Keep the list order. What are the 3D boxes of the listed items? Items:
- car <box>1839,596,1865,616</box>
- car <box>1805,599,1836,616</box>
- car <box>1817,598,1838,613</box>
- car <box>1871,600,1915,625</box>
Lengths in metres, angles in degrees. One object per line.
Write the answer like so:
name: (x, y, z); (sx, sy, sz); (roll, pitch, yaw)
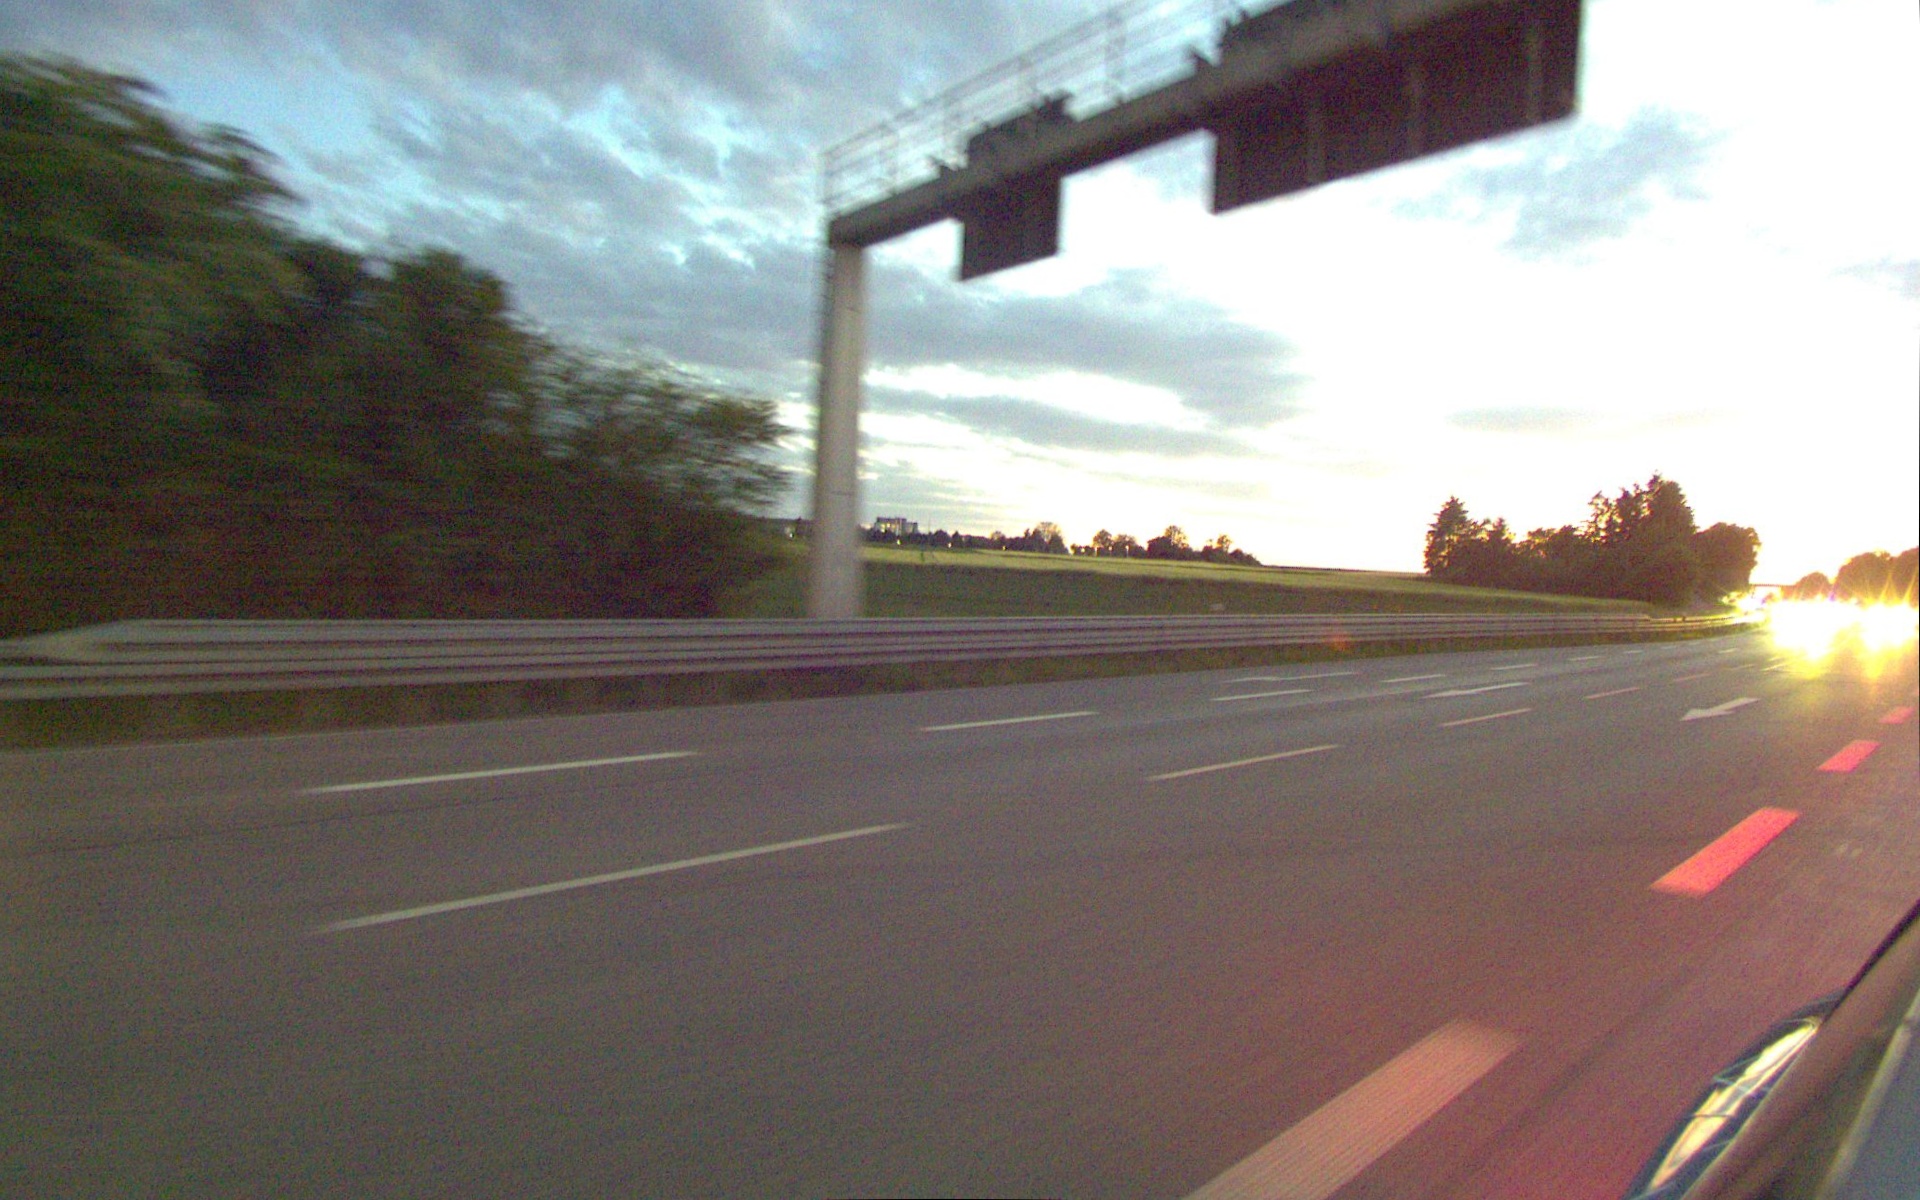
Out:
car: (96.249, 0.644, 109.204); (1.858, 2.039, 3.935); (0, 0, 45)
car: (83.602, 0.718, 98.331); (1.994, 1.604, 3.935); (0, 0, 45)
car: (104.541, 0.699, 121.971); (1.825, 1.772, 3.794); (0, -1, 40)
car: (56.329, 0.729, 61.156); (1.749, 1.474, 3.748); (0, -1, 40)
